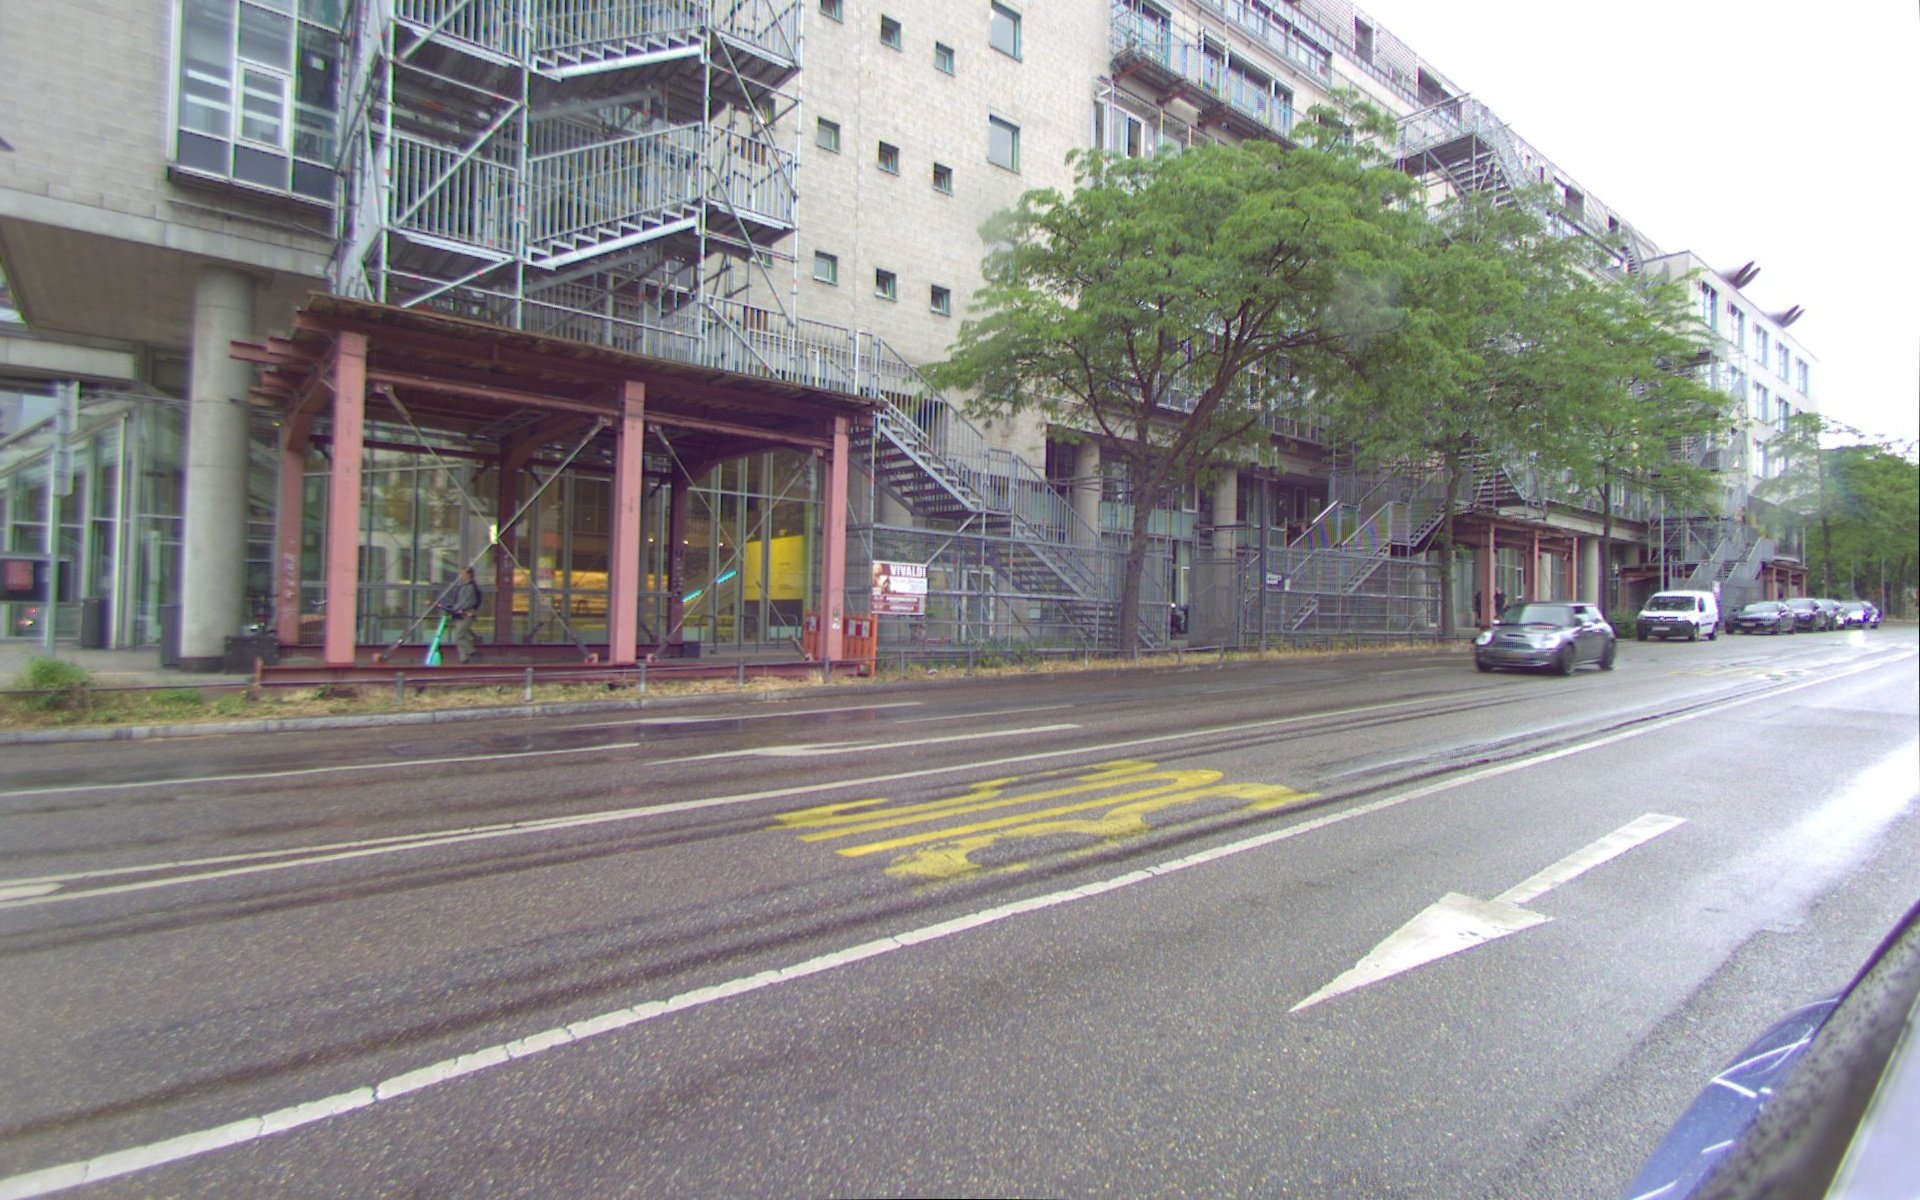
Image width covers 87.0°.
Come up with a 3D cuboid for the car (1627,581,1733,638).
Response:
[{"bbox_3d":[26.067,0.298,36.589,4.254,1.930,2.211,-1,0,-41],"label":"car"}]

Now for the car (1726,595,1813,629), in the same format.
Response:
[{"bbox_3d":[35.092,0.477,43.818,4.733,1.353,2.145,-1,1,-41],"label":"car"}]

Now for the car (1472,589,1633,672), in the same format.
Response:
[{"bbox_3d":[12.008,0.538,20.434,3.657,1.473,1.742,-2,2,-41],"label":"car"}]

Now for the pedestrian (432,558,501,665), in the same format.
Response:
[{"bbox_3d":[-8.517,0.193,17.482,0.774,1.798,0.783,0,0,31],"label":"pedestrian"}]

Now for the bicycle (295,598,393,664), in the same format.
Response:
[{"bbox_3d":[-11.986,0.573,19.738,0.580,1.209,1.602,0,0,24],"label":"bicycle"}]

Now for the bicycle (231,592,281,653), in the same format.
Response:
[{"bbox_3d":[-14.424,0.435,20.718,0.577,1.209,1.611,0,0,-44],"label":"bicycle"}]

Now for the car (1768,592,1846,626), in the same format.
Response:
[{"bbox_3d":[40.248,0.395,48.068,4.733,1.513,2.145,-1,1,-41],"label":"car"}]

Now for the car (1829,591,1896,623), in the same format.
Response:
[{"bbox_3d":[48.933,0.356,54.855,4.733,1.667,2.145,-1,0,-41],"label":"car"}]

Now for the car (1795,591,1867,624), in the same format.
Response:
[{"bbox_3d":[44.359,0.367,51.530,4.733,1.580,2.145,-1,1,-41],"label":"car"}]

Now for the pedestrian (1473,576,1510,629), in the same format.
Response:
[{"bbox_3d":[20.892,0.073,39.778,1.021,2.039,1.009,0,0,-41],"label":"pedestrian"}]

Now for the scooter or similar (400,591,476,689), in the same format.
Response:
[{"bbox_3d":[-6.939,0.486,13.414,0.576,1.209,1.782,1,0,-38],"label":"scooter or similar"}]

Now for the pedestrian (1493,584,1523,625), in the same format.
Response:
[{"bbox_3d":[24.942,0.193,46.046,0.832,1.822,1.008,0,0,-44],"label":"pedestrian"}]
